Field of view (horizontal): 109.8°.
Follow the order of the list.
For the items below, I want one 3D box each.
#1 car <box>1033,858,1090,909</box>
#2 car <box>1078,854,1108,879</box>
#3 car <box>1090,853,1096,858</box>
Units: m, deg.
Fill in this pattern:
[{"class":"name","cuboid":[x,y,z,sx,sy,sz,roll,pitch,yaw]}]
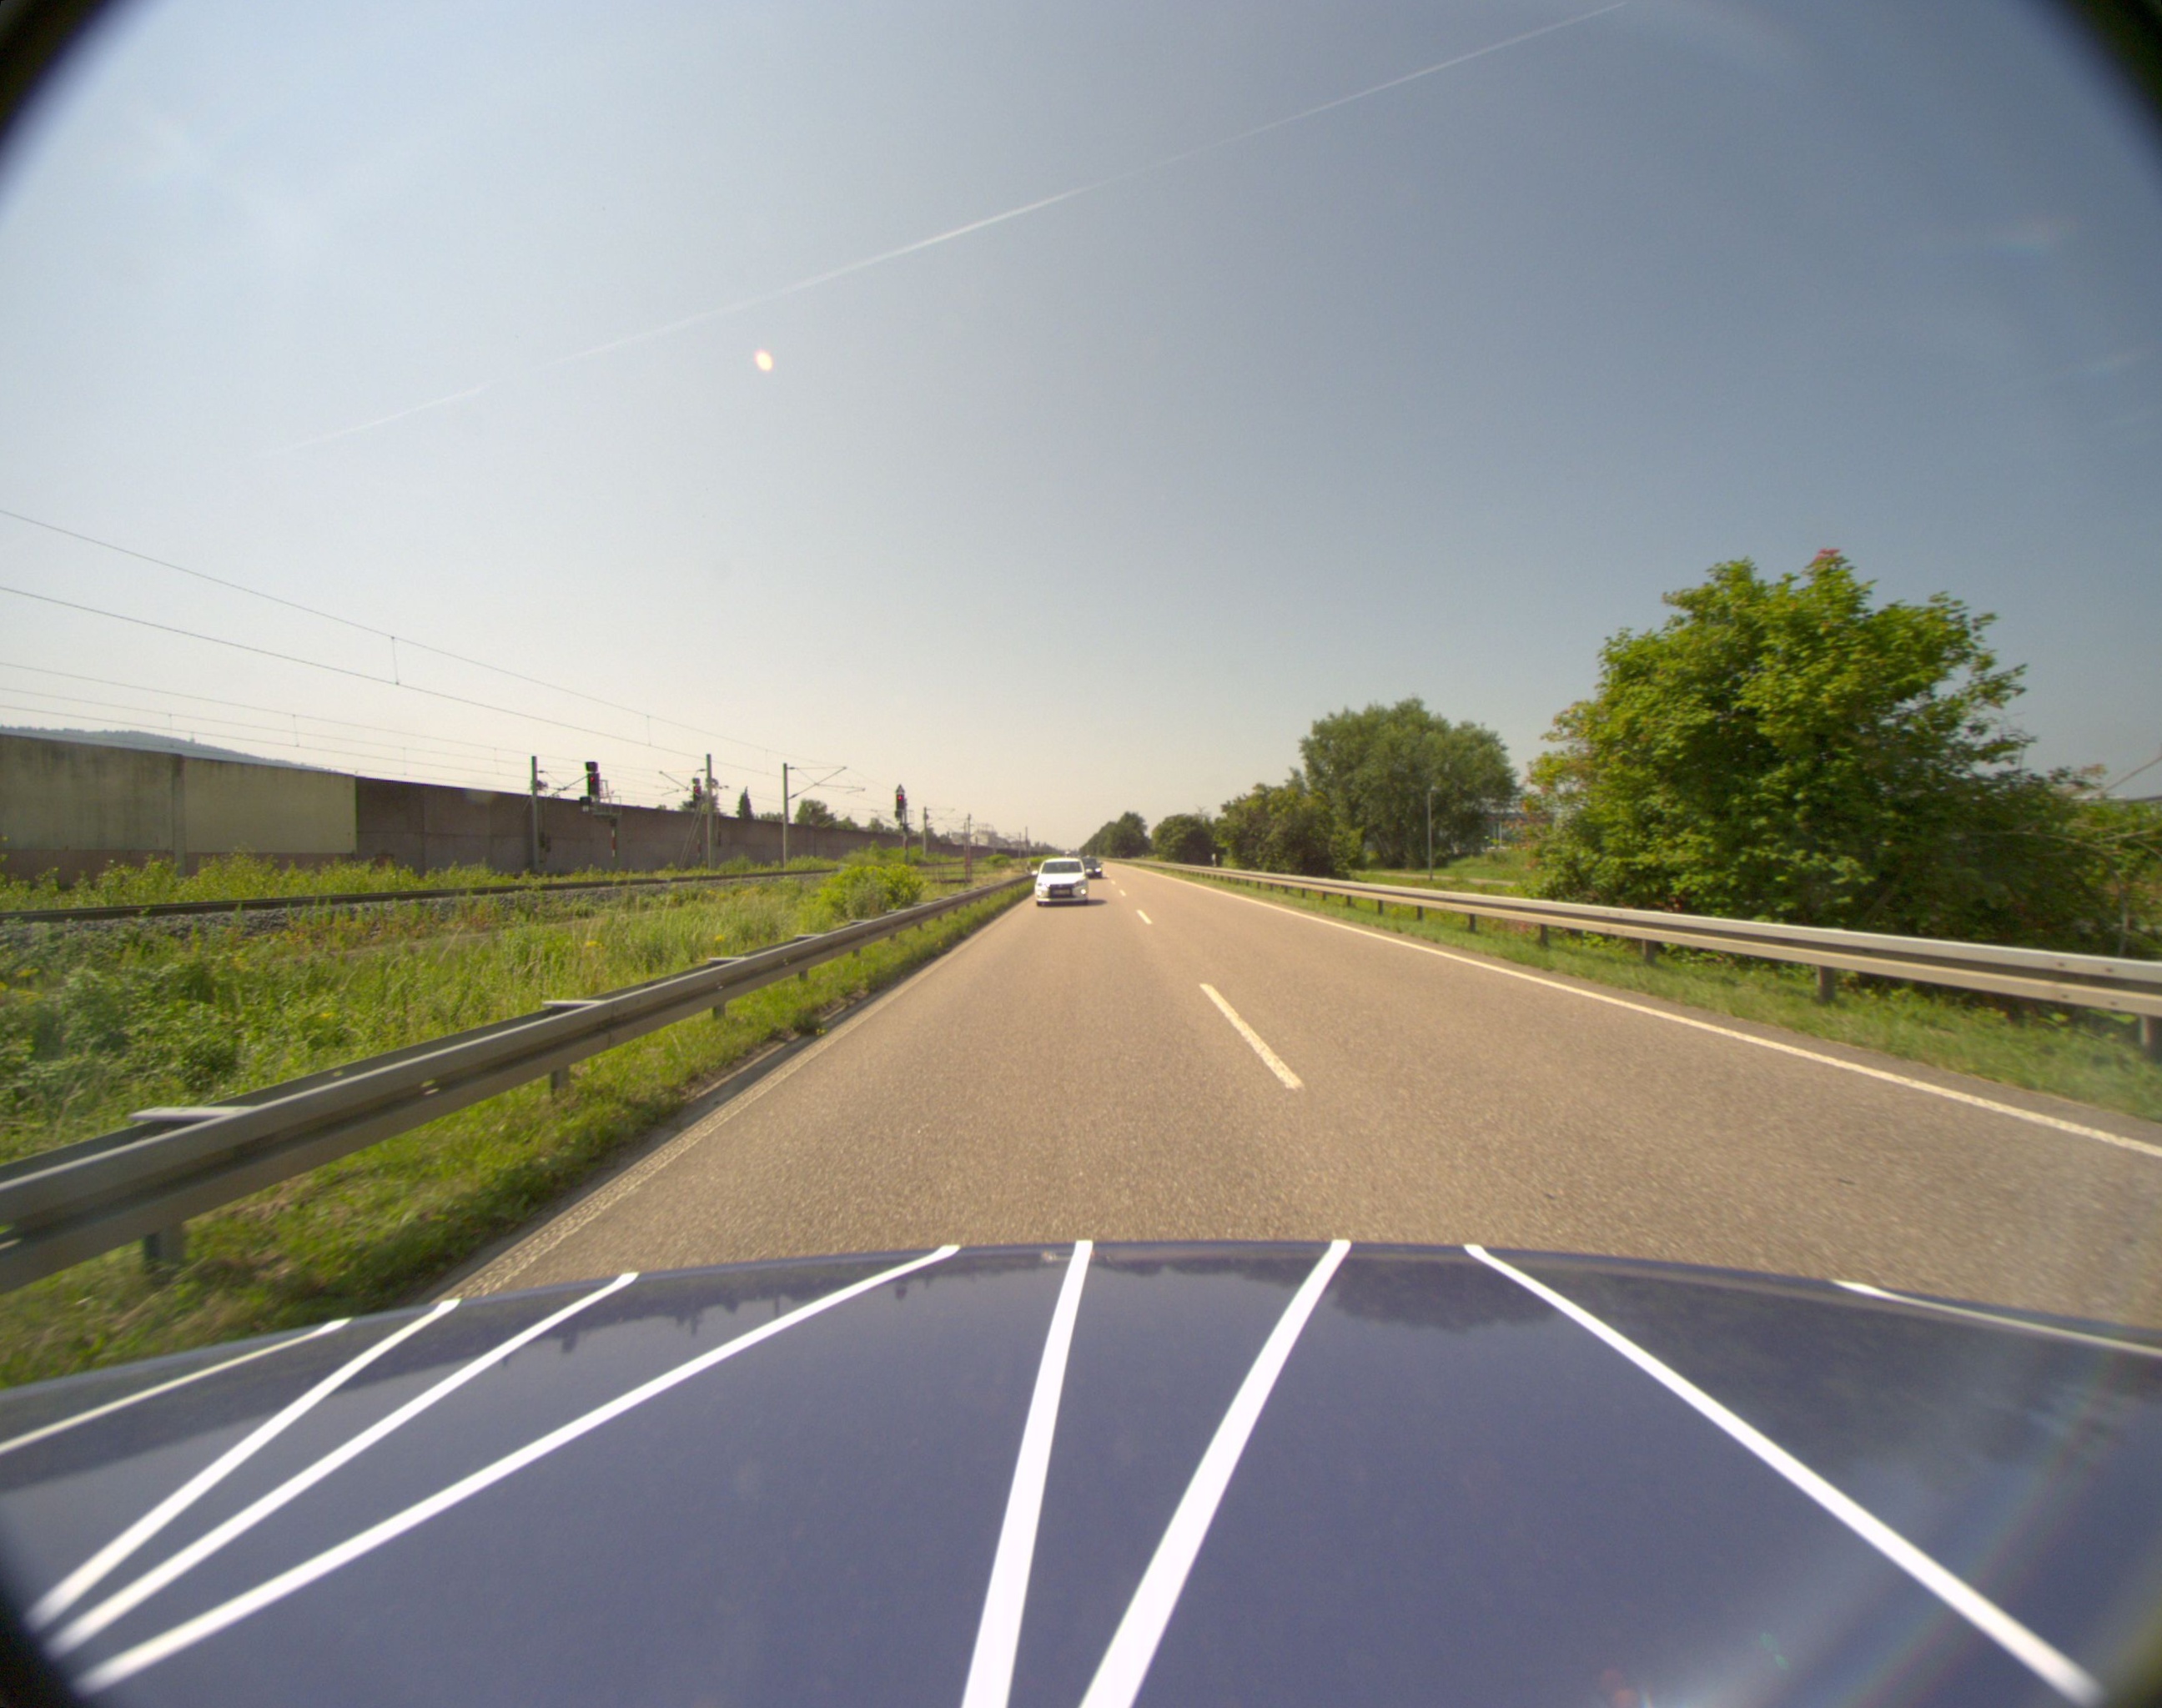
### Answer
[{"class":"car","cuboid":[-0.639,0.907,25.084,1.701,1.470,4.154,-2,0,-2]},{"class":"car","cuboid":[0.737,0.762,48.520,1.711,1.470,4.154,-2,0,-2]},{"class":"car","cuboid":[3.555,0.490,219.769,1.702,1.466,4.686,-2,0,0]}]
